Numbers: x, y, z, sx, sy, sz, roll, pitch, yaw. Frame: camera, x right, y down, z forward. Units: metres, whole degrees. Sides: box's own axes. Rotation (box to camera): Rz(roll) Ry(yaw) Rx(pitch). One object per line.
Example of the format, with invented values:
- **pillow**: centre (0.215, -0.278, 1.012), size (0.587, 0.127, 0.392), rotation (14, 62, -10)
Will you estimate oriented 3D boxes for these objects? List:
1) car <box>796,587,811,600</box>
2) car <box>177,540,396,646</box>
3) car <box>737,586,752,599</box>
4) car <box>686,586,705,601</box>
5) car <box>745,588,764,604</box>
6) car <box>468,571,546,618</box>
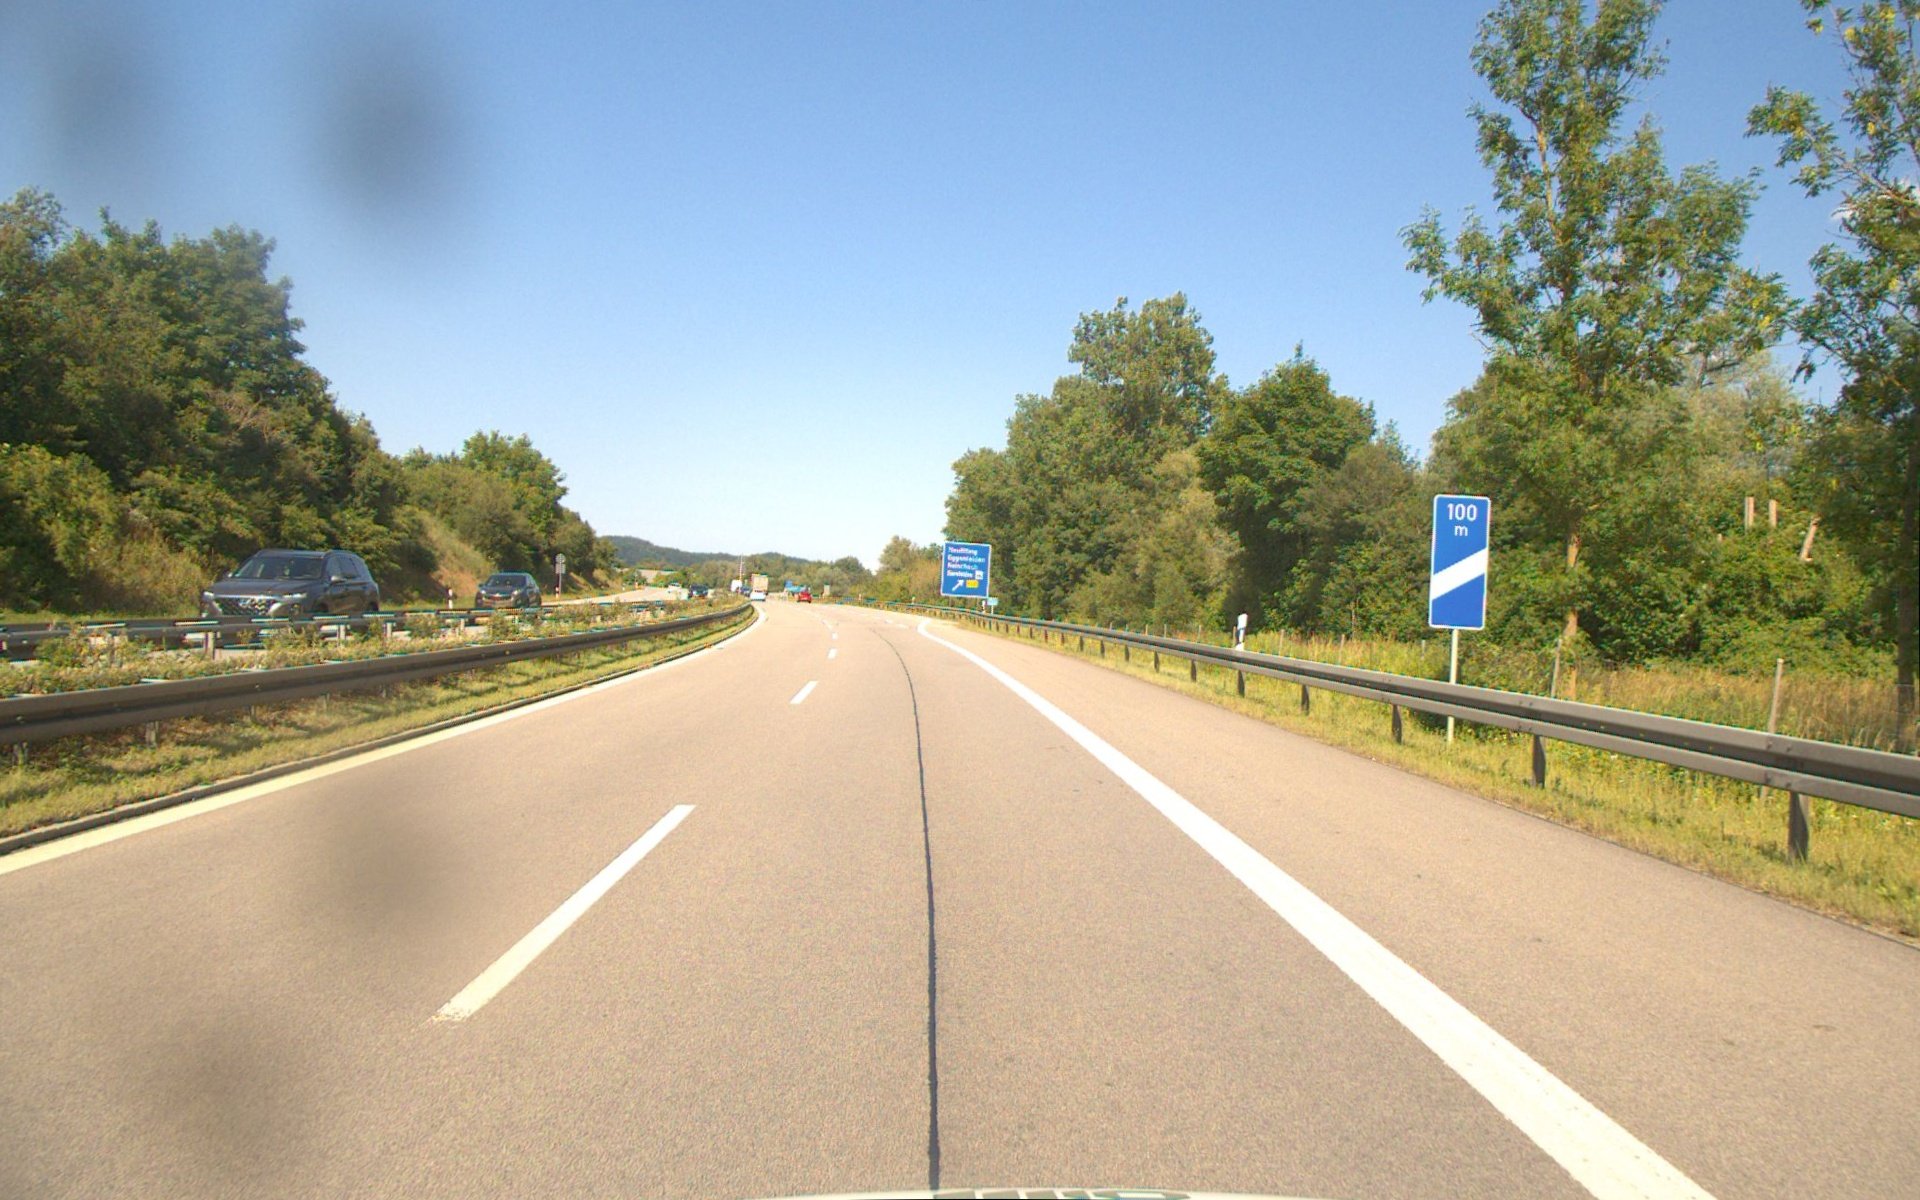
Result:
- **car**: centre (-20.152, -0.790, 213.130), size (1.749, 1.456, 3.997), rotation (6, -1, -3)
- **car**: centre (-11.777, -0.132, 29.340), size (2.026, 1.708, 4.885), rotation (0, 0, -2)
- **car**: centre (-31.136, -1.048, 239.438), size (1.957, 1.780, 3.991), rotation (2, 0, -9)
- **car**: centre (-27.624, -0.686, 172.880), size (1.613, 1.480, 4.900), rotation (1, -1, -6)
- **car**: centre (-24.302, -0.454, 195.925), size (2.024, 1.653, 3.991), rotation (2, -2, -9)
- **car**: centre (-16.644, -0.209, 60.975), size (1.954, 1.680, 4.430), rotation (0, 0, -5)
